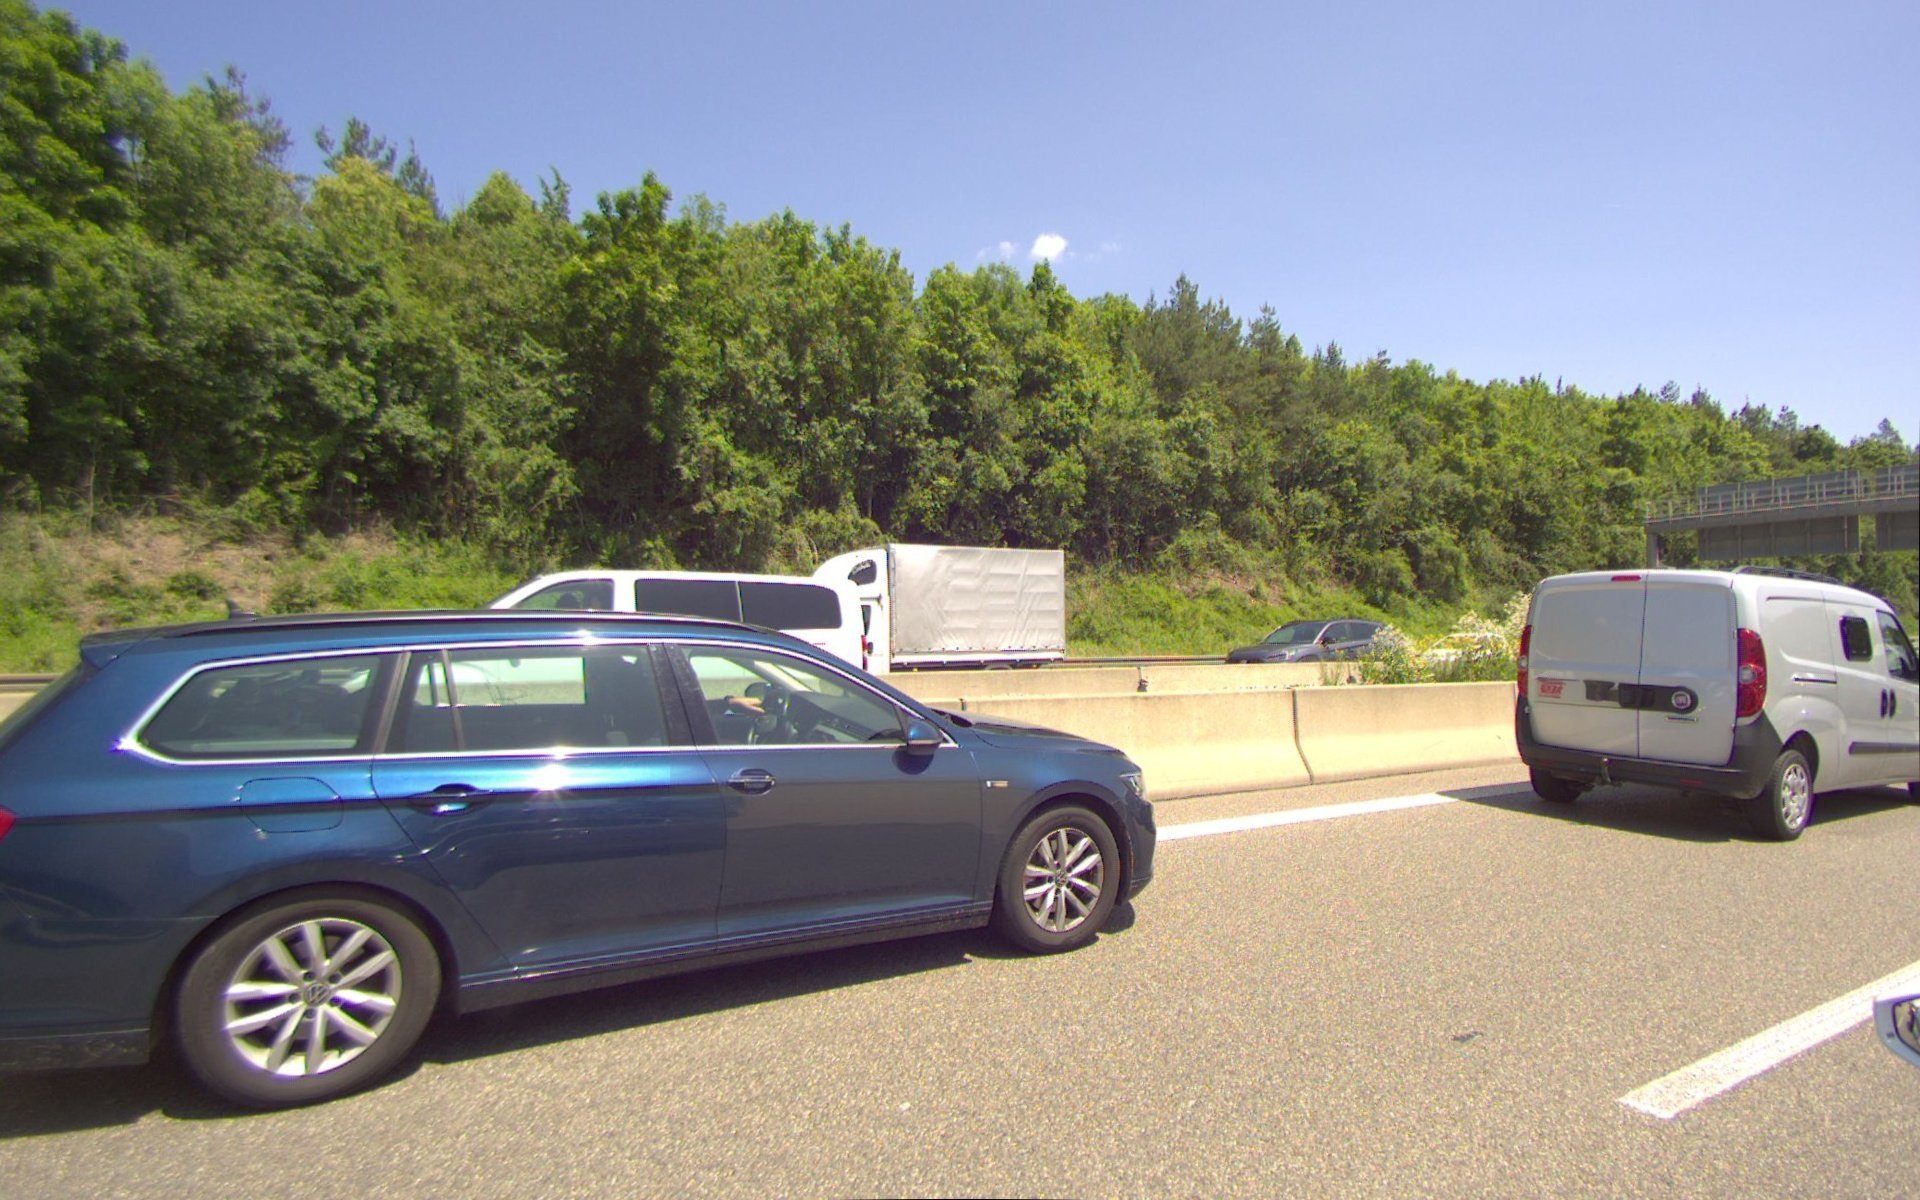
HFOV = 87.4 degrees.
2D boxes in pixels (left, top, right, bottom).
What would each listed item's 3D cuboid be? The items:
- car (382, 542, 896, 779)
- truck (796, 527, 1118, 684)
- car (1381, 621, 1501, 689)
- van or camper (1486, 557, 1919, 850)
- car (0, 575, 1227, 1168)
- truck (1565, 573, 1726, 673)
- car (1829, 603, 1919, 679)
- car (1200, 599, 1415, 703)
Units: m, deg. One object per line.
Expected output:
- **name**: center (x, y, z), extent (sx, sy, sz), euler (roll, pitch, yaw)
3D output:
- **car**: center (-3.328, 0.611, 10.797), extent (4.902, 2.040, 1.983), euler (2, -1, -32)
- **truck**: center (0.078, 0.223, 21.373), extent (6.667, 2.922, 2.166), euler (2, -1, -32)
- **car**: center (15.472, 1.750, 32.310), extent (3.472, 2.040, 1.842), euler (2, -1, -31)
- **van or camper**: center (6.670, 0.699, 8.486), extent (4.508, 1.905, 1.844), euler (1, 0, -30)
- **car**: center (-1.218, 0.726, 4.280), extent (4.624, 1.469, 1.865), euler (2, -1, -31)
- **truck**: center (29.863, 1.058, 43.649), extent (7.899, 4.042, 2.678), euler (2, -1, -31)
- **car**: center (27.255, 1.192, 29.086), extent (3.953, 2.040, 1.984), euler (2, -1, -30)
- **car**: center (7.495, 1.076, 21.594), extent (4.368, 2.040, 1.984), euler (2, -1, -30)
